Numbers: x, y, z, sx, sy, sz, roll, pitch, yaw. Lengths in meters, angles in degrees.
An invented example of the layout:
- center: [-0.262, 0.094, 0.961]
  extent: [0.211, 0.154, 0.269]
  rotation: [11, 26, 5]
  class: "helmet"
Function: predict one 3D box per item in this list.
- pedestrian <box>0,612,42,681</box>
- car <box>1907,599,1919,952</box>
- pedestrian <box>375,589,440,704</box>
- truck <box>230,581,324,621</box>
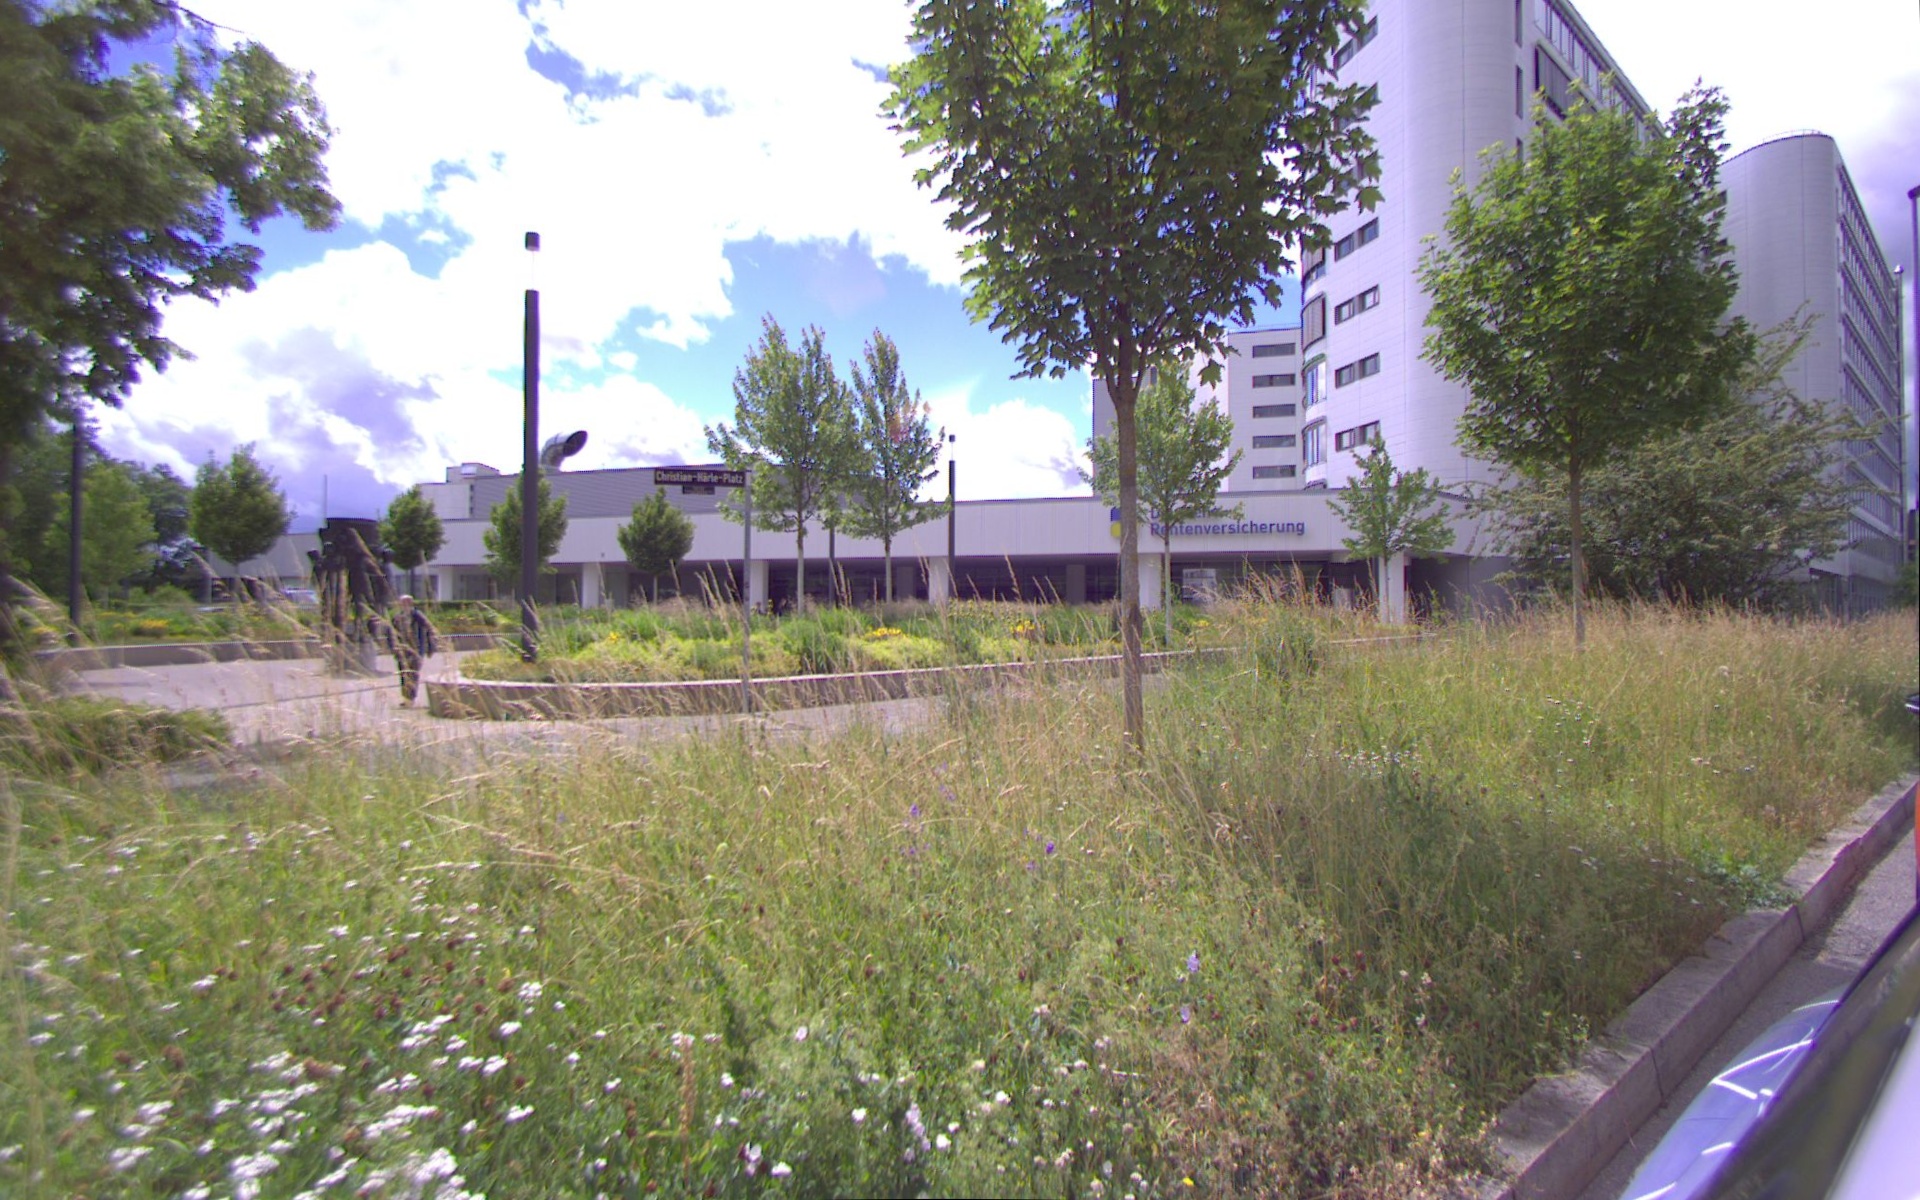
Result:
- center: [-17.414, 0.852, 18.682]
  extent: [0.621, 1.238, 0.620]
  rotation: [0, 0, -36]
  class: "pedestrian"
- center: [5.809, 0.743, 4.636]
  extent: [3.611, 1.434, 1.748]
  rotation: [0, 1, -41]
  class: "car"
- center: [-8.156, 0.670, 14.977]
  extent: [0.756, 1.646, 0.766]
  rotation: [1, 0, -23]
  class: "pedestrian"
- center: [-36.143, 0.050, 53.572]
  extent: [3.941, 2.039, 1.991]
  rotation: [1, 0, 14]
  class: "truck"
